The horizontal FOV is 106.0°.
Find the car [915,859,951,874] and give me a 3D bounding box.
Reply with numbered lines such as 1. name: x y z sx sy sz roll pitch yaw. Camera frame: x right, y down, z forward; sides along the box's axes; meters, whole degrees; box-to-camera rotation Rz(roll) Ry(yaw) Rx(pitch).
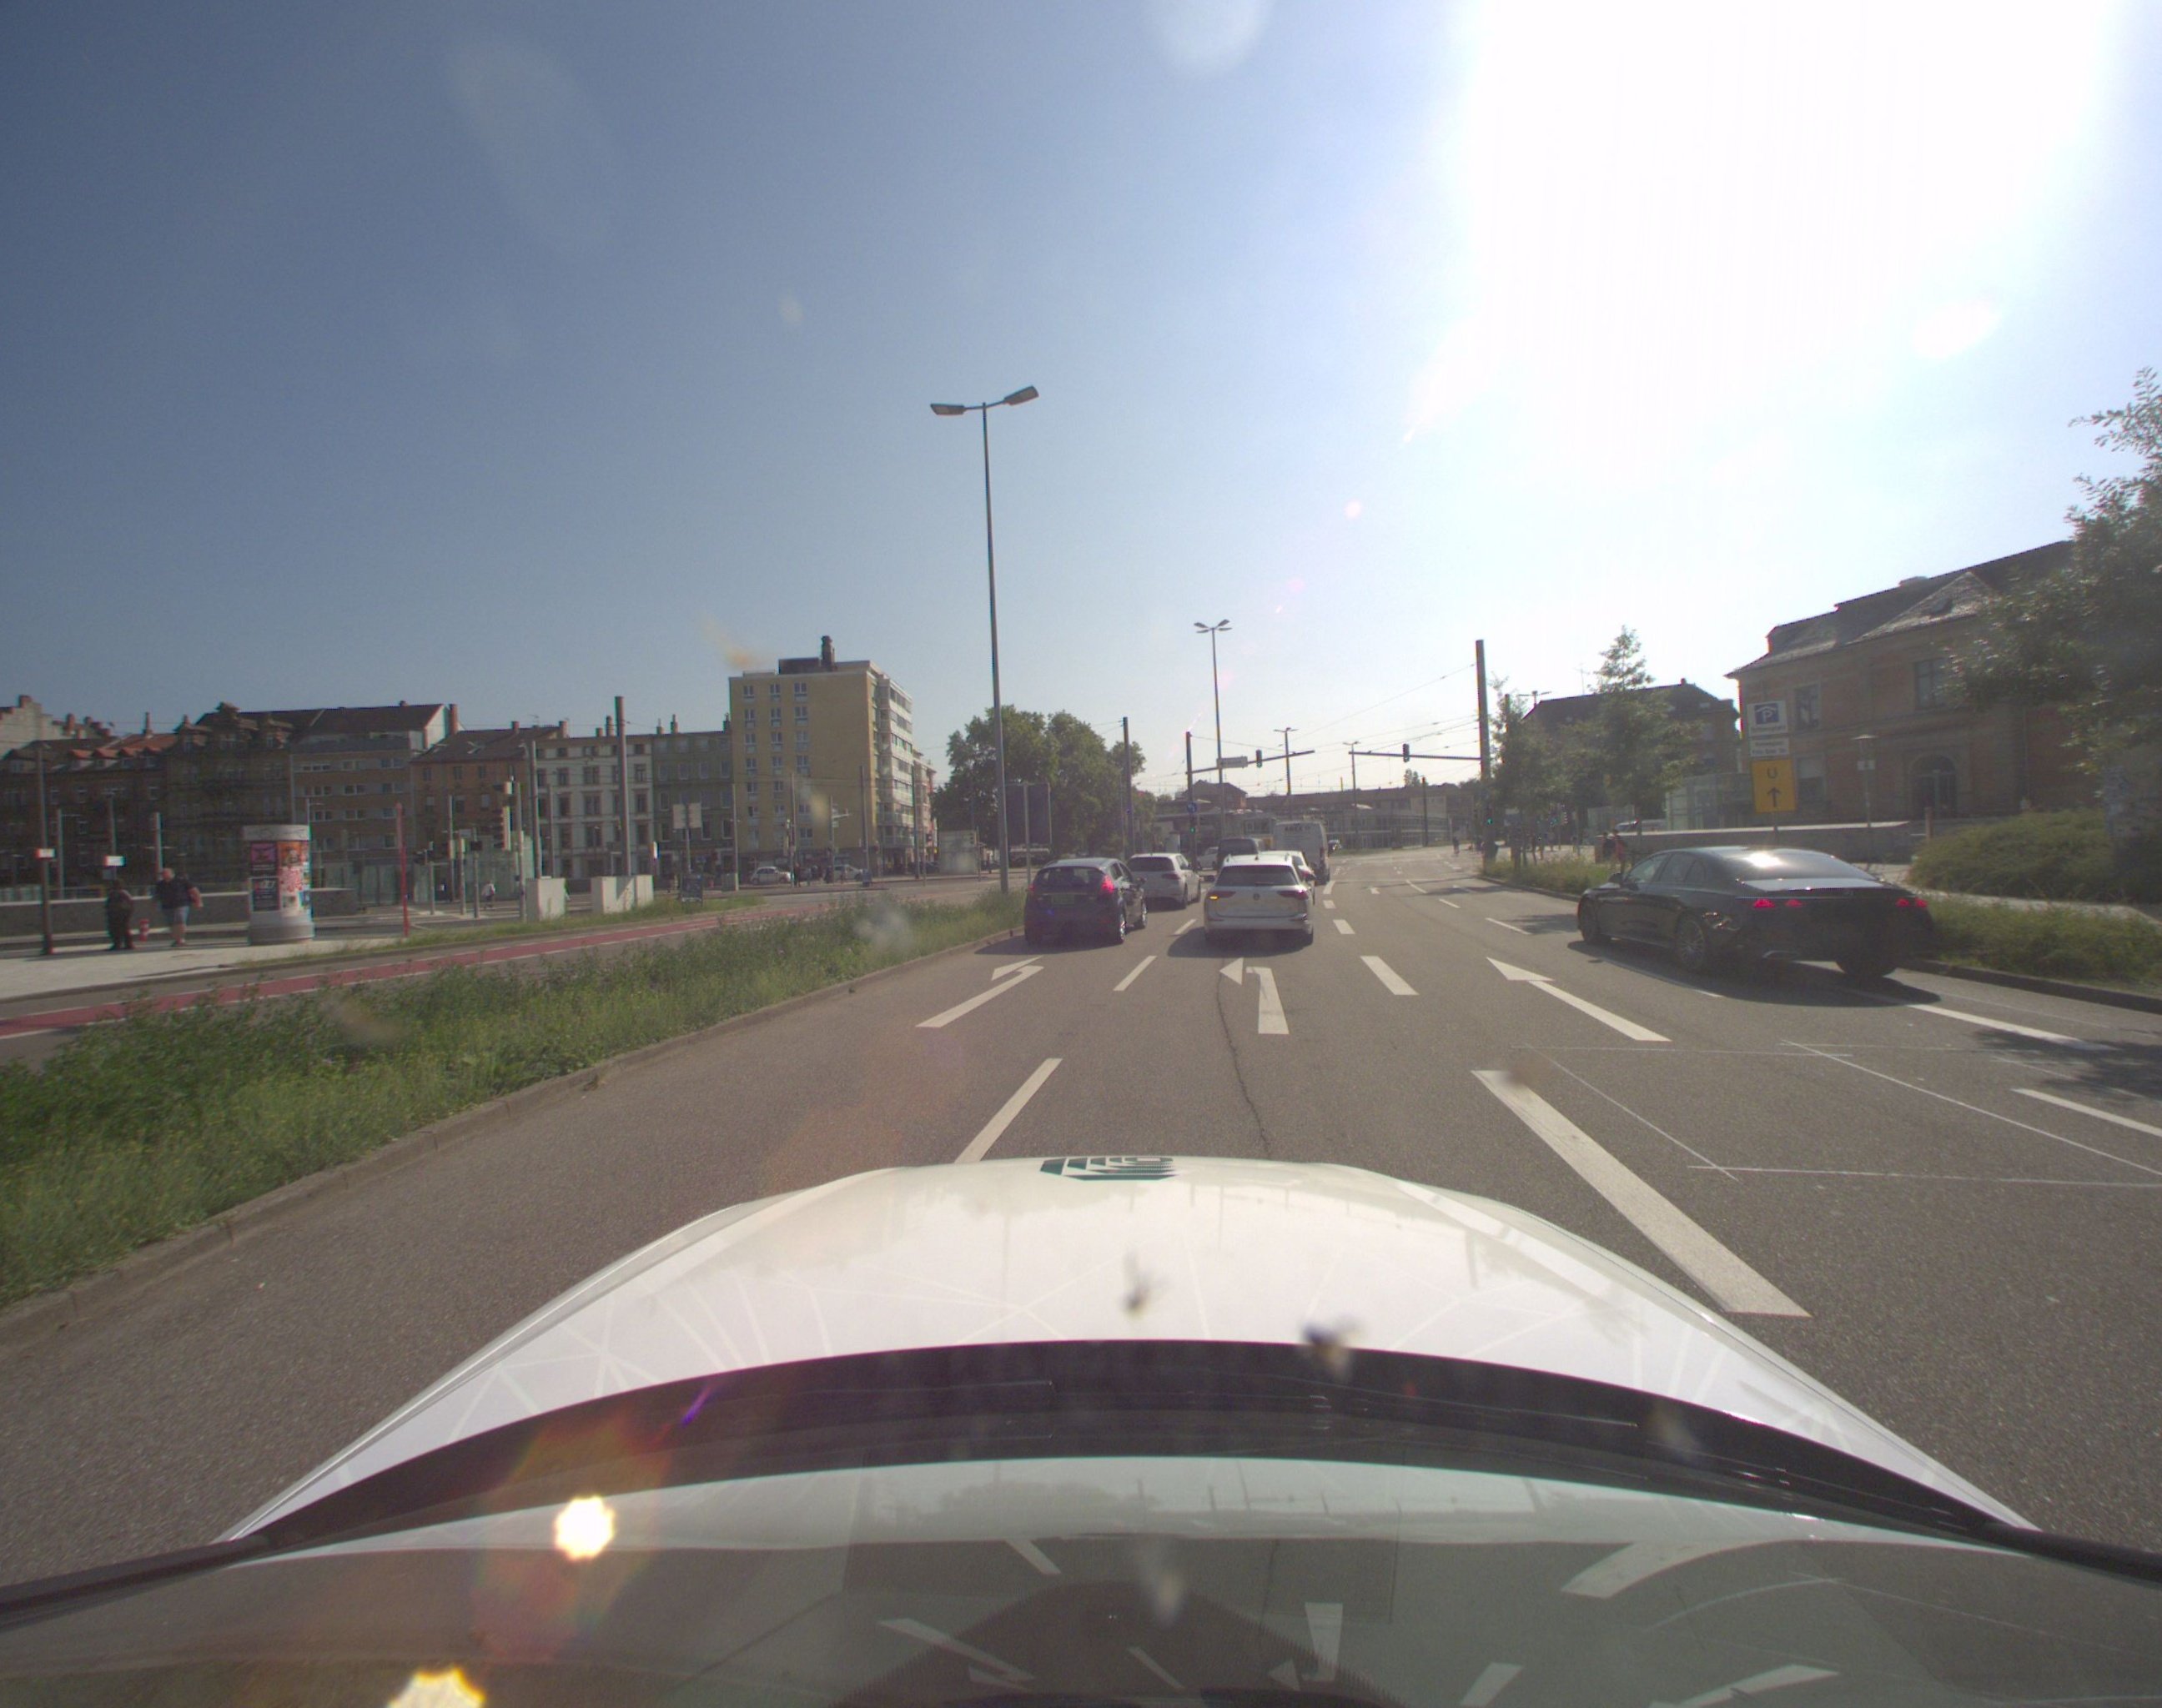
1. car: -18.145 1.528 99.981 3.974 1.558 1.869 -3 0 0

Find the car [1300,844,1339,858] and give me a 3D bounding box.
1. car: 26.237 -0.304 89.674 3.942 1.342 1.935 -3 0 8

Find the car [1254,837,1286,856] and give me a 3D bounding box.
1. car: 22.432 -0.916 96.587 1.974 2.013 4.694 -3 0 35

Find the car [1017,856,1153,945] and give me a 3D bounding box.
1. car: 0.222 0.758 15.027 1.690 1.368 3.976 -2 0 12

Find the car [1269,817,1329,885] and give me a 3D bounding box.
1. car: 9.131 -0.108 33.832 2.171 2.549 4.704 -2 -1 17

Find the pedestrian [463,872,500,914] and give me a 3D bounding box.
1. pedestrian: -30.197 1.946 41.059 0.954 2.013 1.022 -2 2 1

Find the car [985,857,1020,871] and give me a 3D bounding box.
1. car: -9.651 1.178 100.413 3.974 1.558 1.728 -2 0 0

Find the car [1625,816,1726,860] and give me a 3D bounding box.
1. car: 29.977 -0.812 41.125 3.981 2.013 1.751 -3 2 -5

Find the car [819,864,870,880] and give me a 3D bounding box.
1. car: -19.792 1.506 68.189 3.826 1.180 1.572 -2 -1 -7

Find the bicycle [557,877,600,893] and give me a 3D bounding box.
1. bicycle: -49.072 3.057 79.552 3.518 1.347 0.774 -2 2 -1

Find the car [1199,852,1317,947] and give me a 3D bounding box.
1. car: 3.103 0.697 13.969 1.672 1.387 3.648 -2 -1 15

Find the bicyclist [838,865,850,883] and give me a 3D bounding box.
1. bicyclist: -19.006 1.577 65.198 0.724 1.434 0.689 -2 0 -3

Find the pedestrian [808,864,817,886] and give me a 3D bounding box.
1. pedestrian: -21.561 1.698 65.407 0.458 1.684 0.435 -4 3 -37

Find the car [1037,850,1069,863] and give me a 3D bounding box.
1. car: -3.598 0.328 105.597 3.974 1.558 1.728 -2 0 0

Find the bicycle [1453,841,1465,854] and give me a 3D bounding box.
1. bicycle: 31.541 -0.543 67.958 0.765 0.976 2.161 -2 0 21

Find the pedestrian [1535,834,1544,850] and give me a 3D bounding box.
1. pedestrian: 39.318 -1.051 69.849 0.651 1.360 0.663 -1 2 31

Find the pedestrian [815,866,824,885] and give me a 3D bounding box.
1. pedestrian: -21.101 1.742 65.740 0.501 1.487 0.435 -4 3 -37

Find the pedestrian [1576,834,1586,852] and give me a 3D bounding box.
1. pedestrian: 39.241 -0.872 63.964 0.651 1.360 0.663 -1 2 31

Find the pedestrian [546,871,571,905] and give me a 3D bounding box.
1. pedestrian: -29.011 1.878 45.235 0.774 1.786 0.856 -1 2 -2

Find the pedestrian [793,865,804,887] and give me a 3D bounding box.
1. pedestrian: -22.203 1.694 63.981 0.450 1.684 0.550 -1 2 25

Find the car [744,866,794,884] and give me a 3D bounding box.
1. car: -27.246 1.848 71.238 3.723 1.393 1.587 -2 0 1

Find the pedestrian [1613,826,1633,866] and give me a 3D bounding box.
1. pedestrian: 22.299 -0.329 33.499 0.608 1.628 0.537 -3 0 35

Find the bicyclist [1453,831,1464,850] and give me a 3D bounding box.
1. bicyclist: 31.520 -1.107 67.974 0.765 1.578 0.996 -2 0 21

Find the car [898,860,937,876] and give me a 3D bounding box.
1. car: -18.661 1.540 92.856 3.972 1.557 1.870 -2 2 1

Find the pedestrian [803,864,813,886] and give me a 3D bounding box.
1. pedestrian: -21.566 1.681 64.373 0.451 1.684 0.549 -2 2 13

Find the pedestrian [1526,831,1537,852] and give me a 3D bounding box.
1. pedestrian: 42.844 -1.198 77.510 0.796 1.888 0.753 -3 0 28

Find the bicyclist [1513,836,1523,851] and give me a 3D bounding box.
1. bicyclist: 44.929 -1.085 83.654 0.796 1.460 0.753 -3 0 32

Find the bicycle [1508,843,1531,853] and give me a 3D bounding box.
1. bicycle: 45.011 -0.610 83.610 2.032 0.894 0.751 -3 0 32

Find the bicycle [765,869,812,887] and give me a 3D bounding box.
1. bicycle: -28.502 2.342 79.429 3.975 1.551 1.195 -2 2 -1

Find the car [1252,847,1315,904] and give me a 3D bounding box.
1. car: 5.619 0.555 22.512 1.478 1.403 3.958 -2 -1 15

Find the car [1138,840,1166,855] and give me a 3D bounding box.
1. car: 10.833 -0.960 123.690 3.960 2.013 2.007 -2 2 12

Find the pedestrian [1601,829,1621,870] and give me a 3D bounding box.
1. pedestrian: 21.598 -0.166 33.193 0.608 1.639 0.537 -3 0 34

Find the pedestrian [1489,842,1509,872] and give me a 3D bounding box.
1. pedestrian: 19.514 0.124 37.995 0.632 1.362 0.636 -3 0 11

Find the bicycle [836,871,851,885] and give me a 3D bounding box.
1. bicycle: -18.993 1.921 65.225 0.726 0.984 1.730 -2 0 -3

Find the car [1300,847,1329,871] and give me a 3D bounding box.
1. car: 14.237 0.286 49.700 1.625 1.403 3.703 -2 0 16

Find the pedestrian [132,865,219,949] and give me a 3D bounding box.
1. pedestrian: -21.024 1.207 18.933 0.876 1.818 0.896 -2 2 0

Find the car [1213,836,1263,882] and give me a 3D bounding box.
1. car: 7.598 0.226 39.144 2.009 2.008 4.702 -2 0 14

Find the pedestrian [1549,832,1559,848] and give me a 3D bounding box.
1. pedestrian: 41.353 -1.203 71.183 0.651 1.360 0.663 -1 2 31

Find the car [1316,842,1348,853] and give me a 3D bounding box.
1. car: 35.623 -0.941 115.815 3.969 1.442 2.002 -3 0 3

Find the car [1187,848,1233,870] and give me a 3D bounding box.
1. car: 9.293 0.371 58.913 1.627 1.502 4.063 -2 -1 -18

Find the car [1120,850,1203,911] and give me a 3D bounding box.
1. car: 2.240 0.656 21.878 1.478 1.415 3.664 -2 0 17

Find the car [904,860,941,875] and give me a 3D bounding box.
1. car: -18.666 1.585 95.821 3.927 1.558 1.795 -3 0 1

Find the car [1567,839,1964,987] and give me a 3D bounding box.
1. car: 8.167 0.587 10.466 1.808 1.440 4.890 -2 0 12

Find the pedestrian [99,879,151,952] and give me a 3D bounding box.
1. pedestrian: -21.535 1.380 18.351 0.493 1.579 0.510 -2 2 16
